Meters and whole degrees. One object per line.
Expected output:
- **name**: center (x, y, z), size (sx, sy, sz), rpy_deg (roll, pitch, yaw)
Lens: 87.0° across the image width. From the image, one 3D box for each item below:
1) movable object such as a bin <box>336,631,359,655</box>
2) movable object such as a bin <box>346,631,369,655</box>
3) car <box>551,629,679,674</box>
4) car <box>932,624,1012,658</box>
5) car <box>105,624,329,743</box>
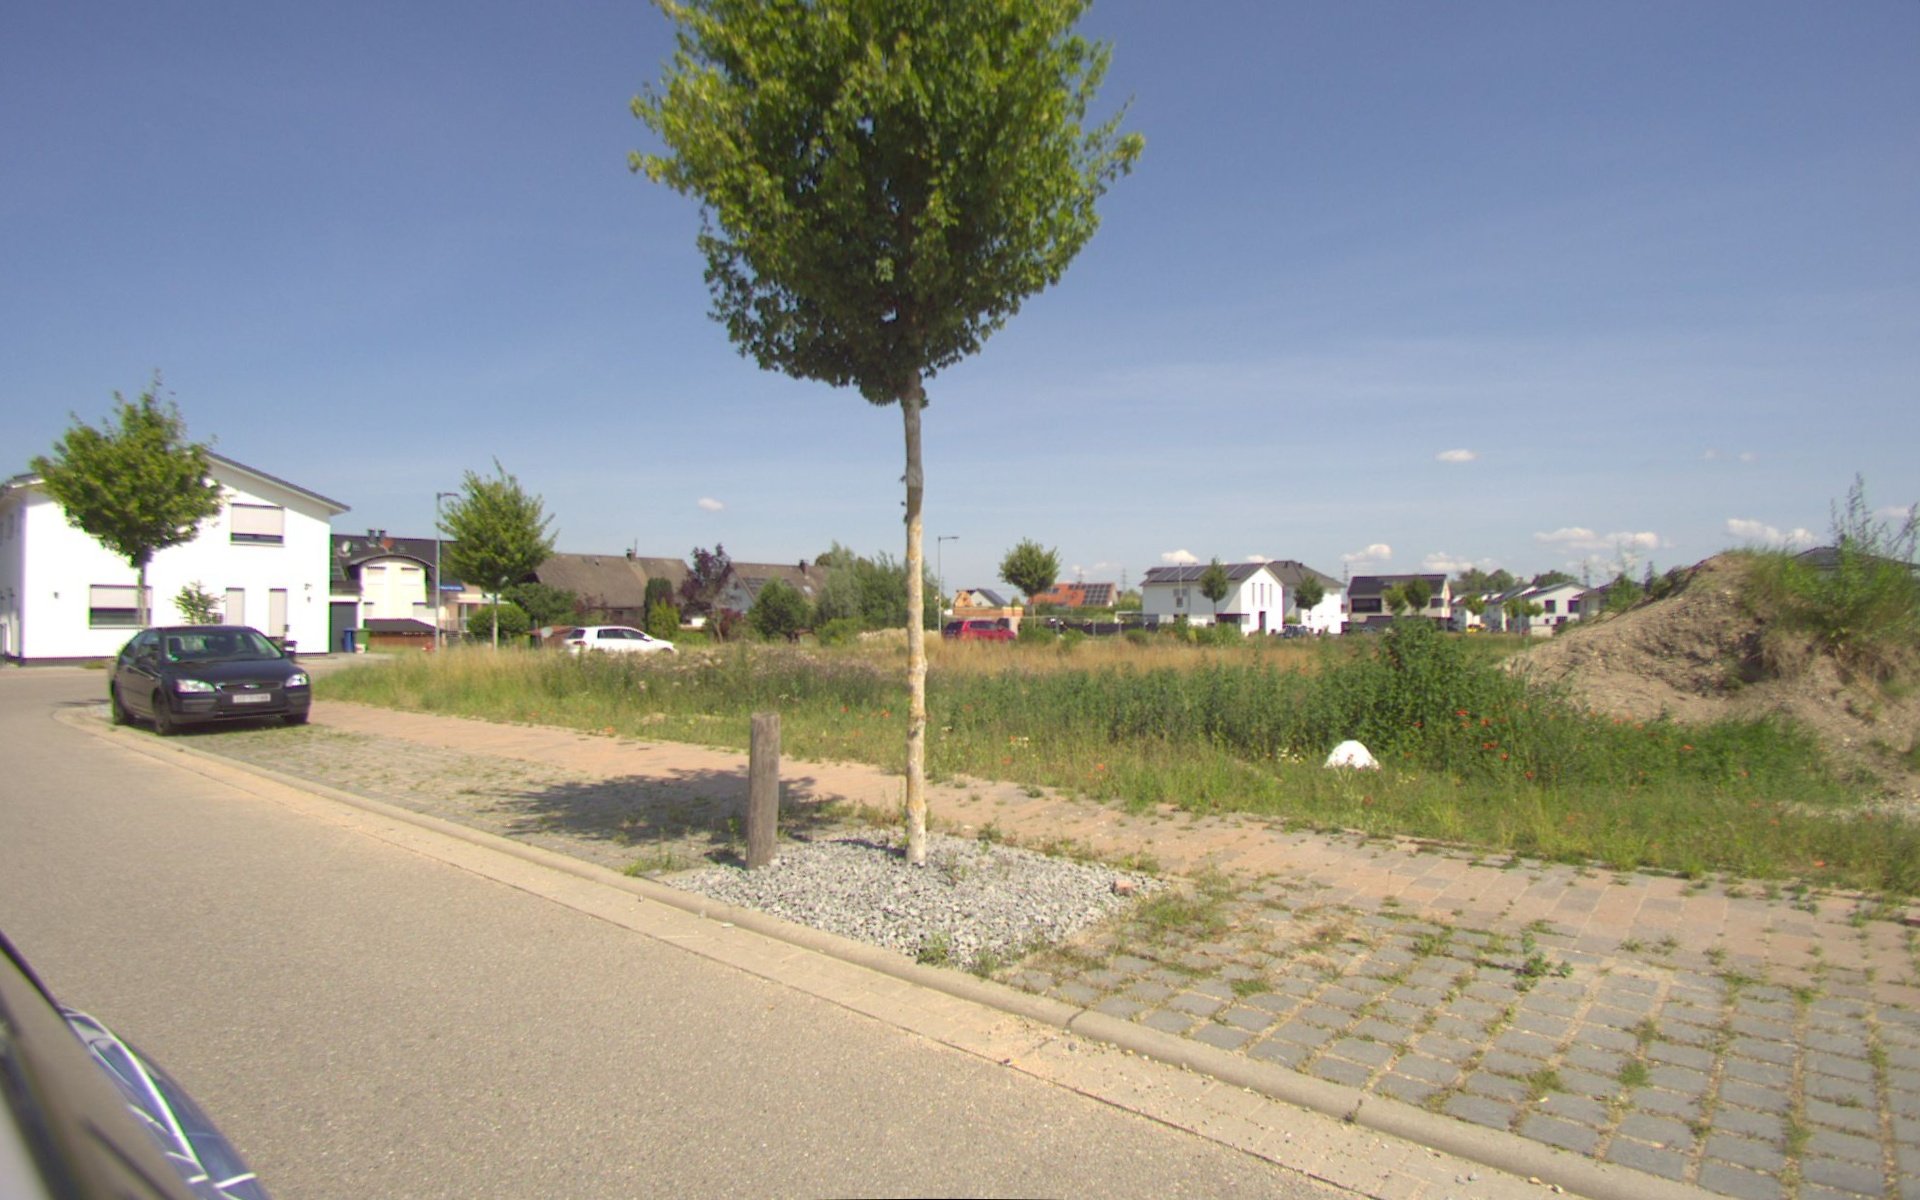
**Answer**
- **movable object such as a bin**: center (-26.679, 1.869, 44.088), size (0.741, 1.012, 0.676), rpy_deg (-2, -3, 43)
- **movable object such as a bin**: center (-25.973, 1.860, 43.648), size (0.741, 1.012, 0.676), rpy_deg (-2, -3, 43)
- **car**: center (-12.266, 1.778, 36.092), size (3.940, 1.514, 1.811), rpy_deg (2, -2, -44)
- **car**: center (0.628, 1.991, 49.965), size (1.809, 1.628, 3.944), rpy_deg (-2, -2, 42)
- **car**: center (-11.001, 1.118, 14.879), size (4.142, 1.465, 1.793), rpy_deg (-2, 0, 41)
